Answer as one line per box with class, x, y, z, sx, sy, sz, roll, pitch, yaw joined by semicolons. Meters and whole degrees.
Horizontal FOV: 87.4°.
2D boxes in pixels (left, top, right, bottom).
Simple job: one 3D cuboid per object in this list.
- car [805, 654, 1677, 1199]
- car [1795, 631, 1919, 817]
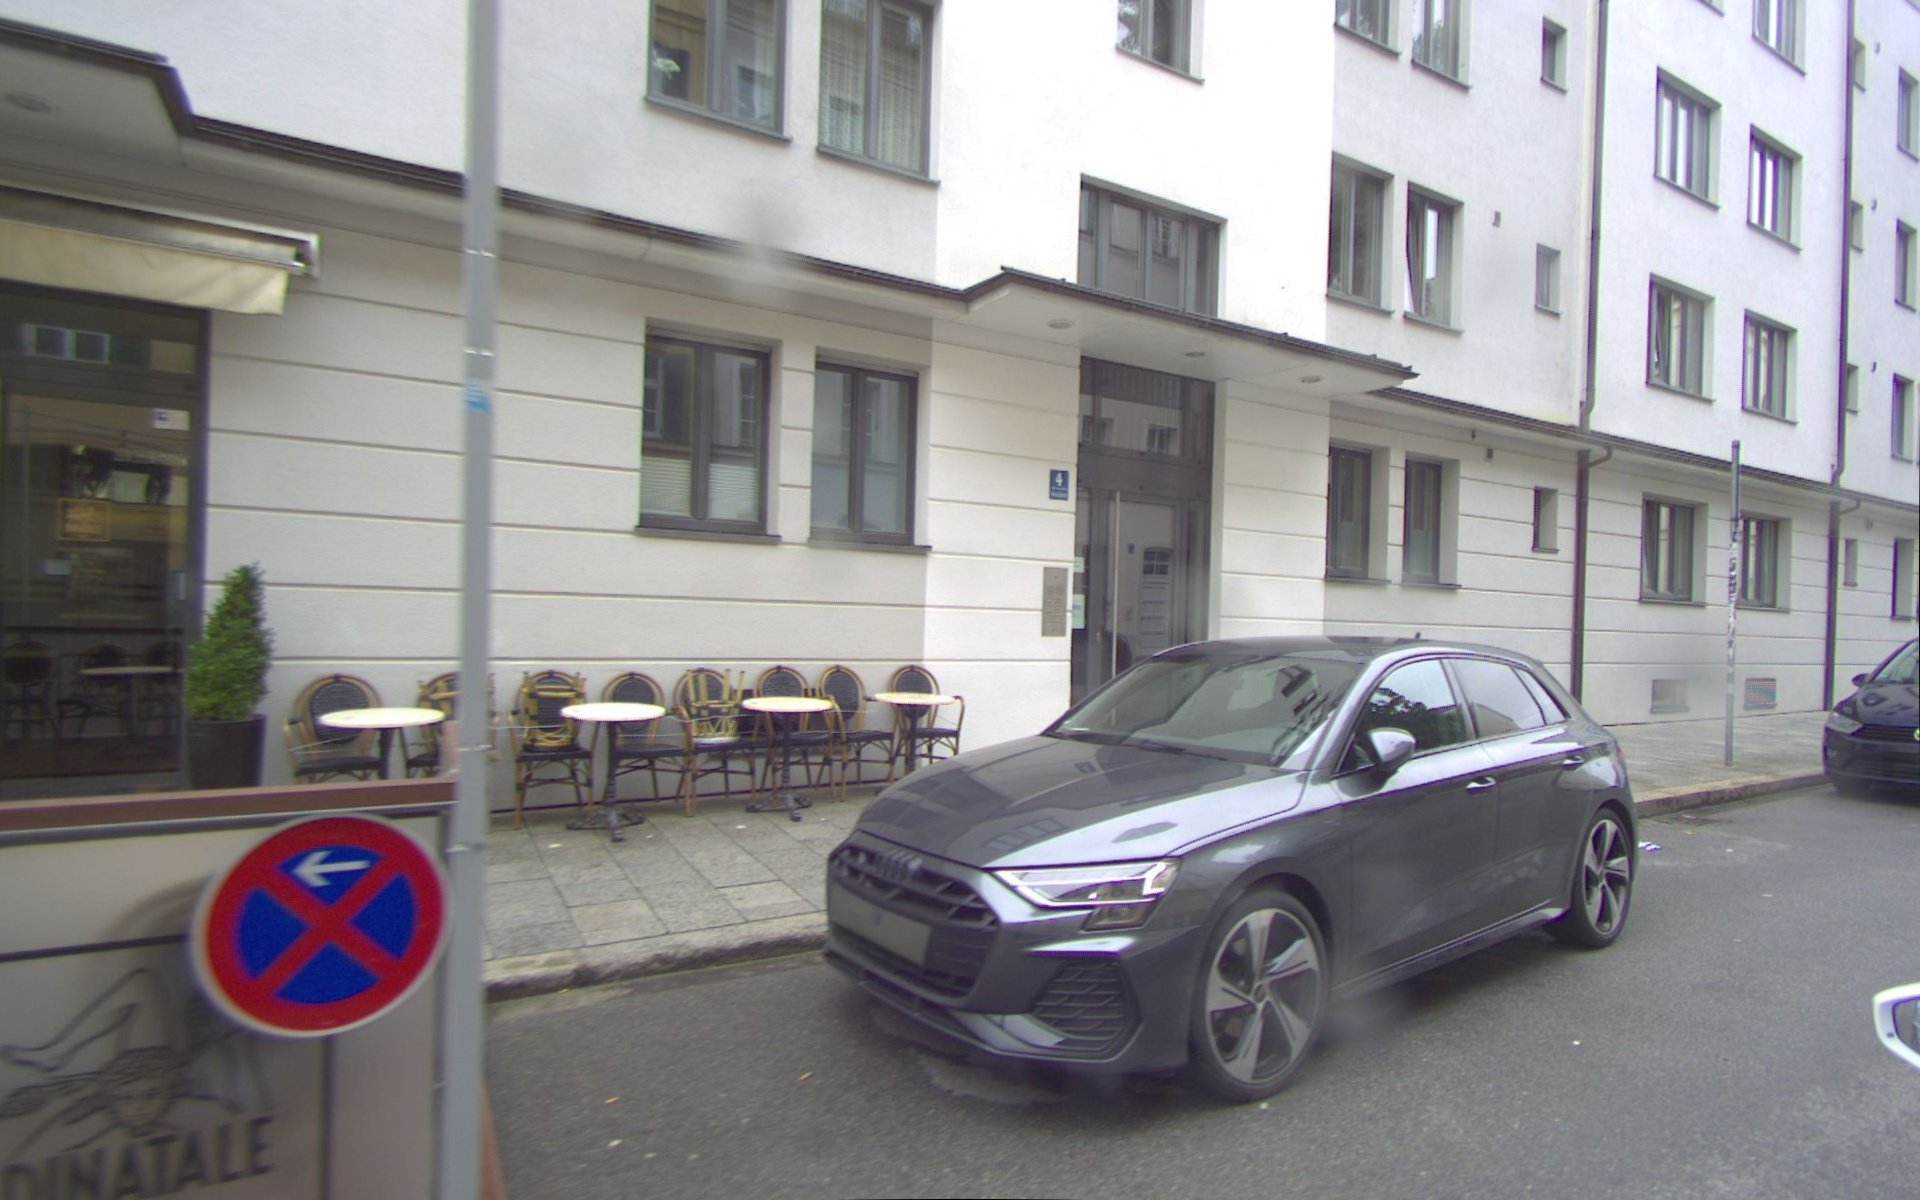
car;1.478;0.969;4.465;4.020;1.372;1.627;1;-2;-37
car;9.868;1.071;9.489;4.111;1.559;1.765;1;-2;-31
